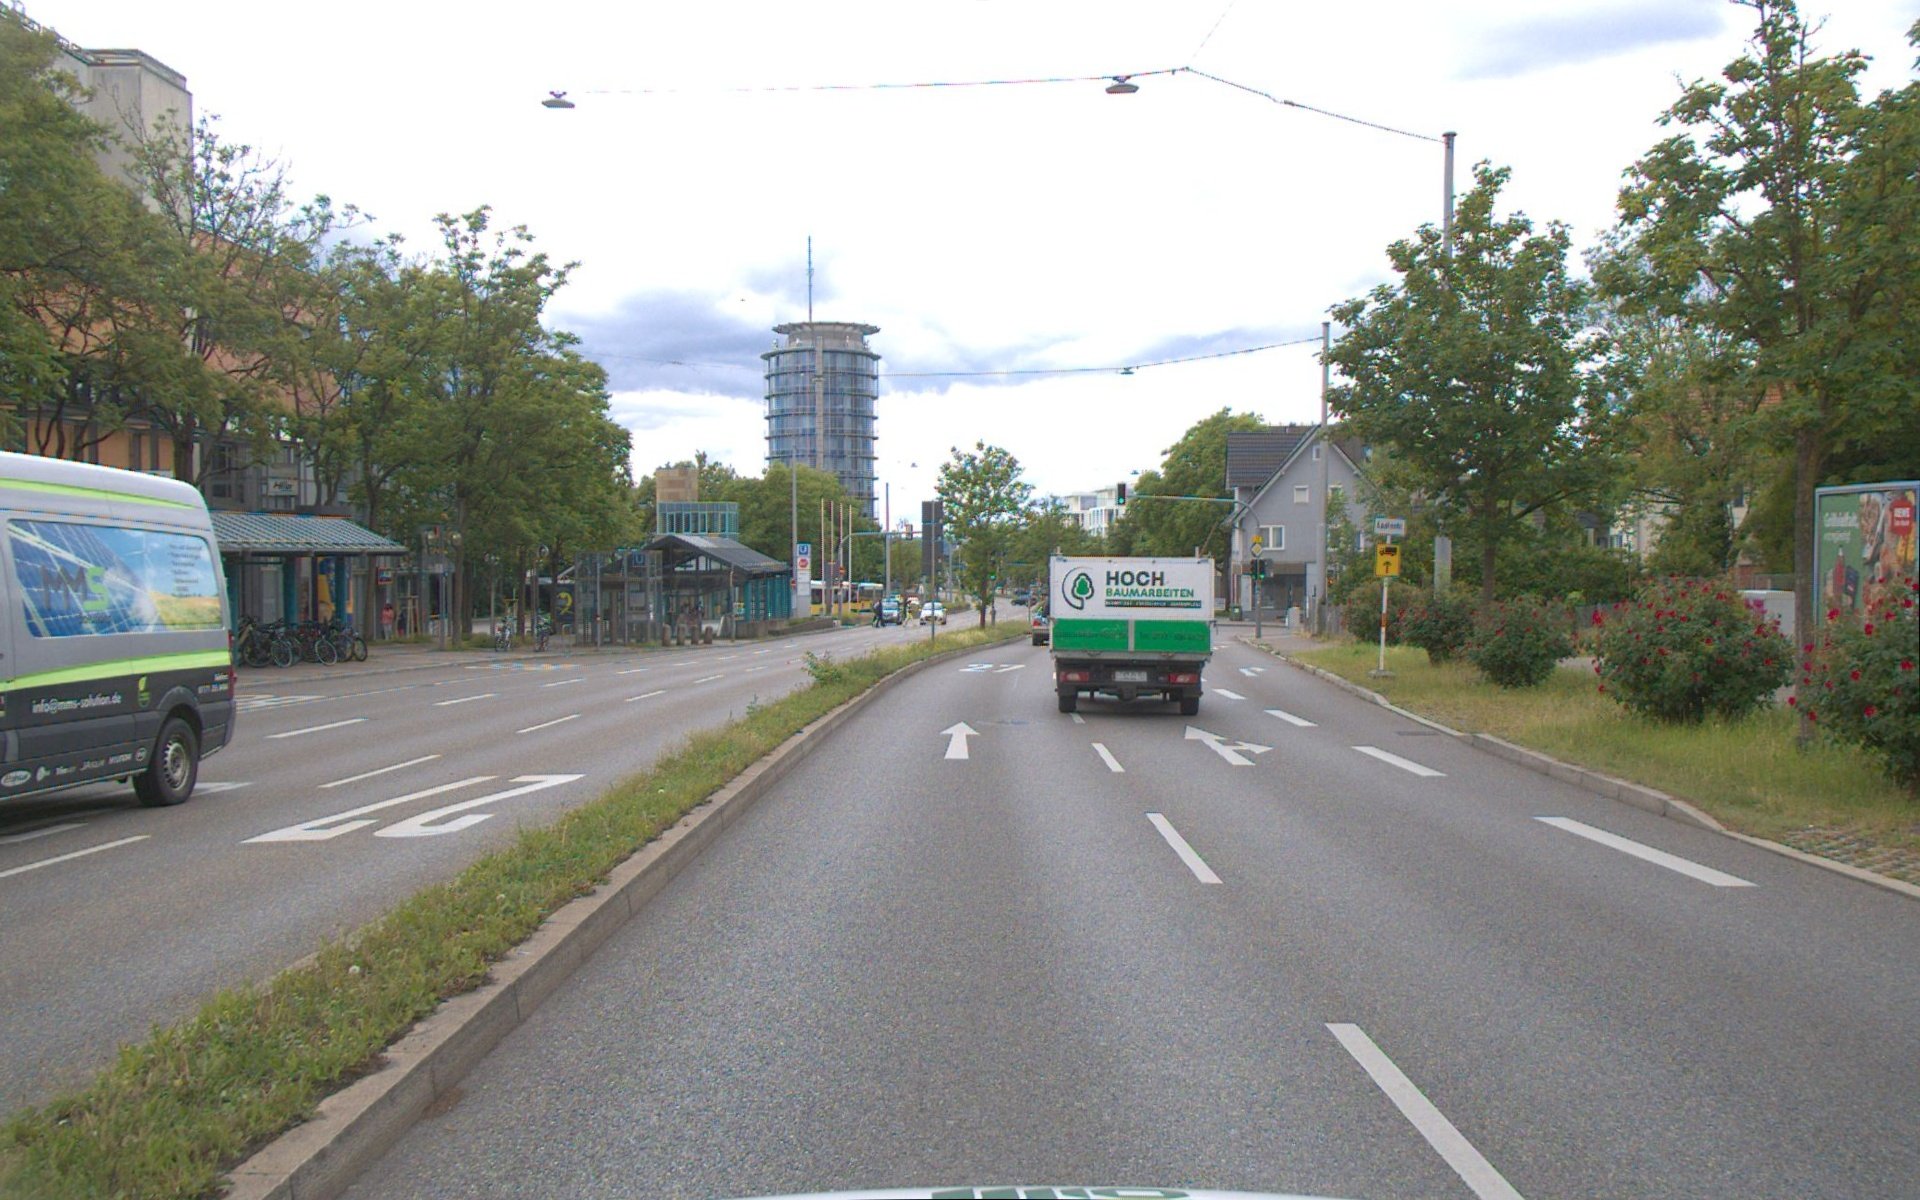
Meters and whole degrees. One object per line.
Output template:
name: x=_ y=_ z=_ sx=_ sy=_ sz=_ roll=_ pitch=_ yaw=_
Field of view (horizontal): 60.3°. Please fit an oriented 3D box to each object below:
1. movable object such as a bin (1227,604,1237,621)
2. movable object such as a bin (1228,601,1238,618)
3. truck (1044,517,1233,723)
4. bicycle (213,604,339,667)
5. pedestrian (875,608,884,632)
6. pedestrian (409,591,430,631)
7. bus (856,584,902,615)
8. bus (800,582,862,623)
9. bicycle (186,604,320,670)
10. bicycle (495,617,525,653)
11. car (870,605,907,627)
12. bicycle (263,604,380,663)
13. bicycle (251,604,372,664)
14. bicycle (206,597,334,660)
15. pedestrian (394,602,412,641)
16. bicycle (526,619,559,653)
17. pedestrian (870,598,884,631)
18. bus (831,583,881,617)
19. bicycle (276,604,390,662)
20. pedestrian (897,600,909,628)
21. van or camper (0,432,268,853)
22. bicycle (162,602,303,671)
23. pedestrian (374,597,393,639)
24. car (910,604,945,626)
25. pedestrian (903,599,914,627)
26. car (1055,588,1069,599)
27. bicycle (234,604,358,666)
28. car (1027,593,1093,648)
movable object such as a bin: x=17.283 y=0.818 z=105.021 sx=0.602 sy=1.061 sz=0.590 roll=1 pitch=0 yaw=9
movable object such as a bin: x=17.233 y=0.614 z=104.314 sx=0.591 sy=1.078 sz=0.590 roll=1 pitch=0 yaw=9
truck: x=2.589 y=0.202 z=24.821 sx=2.418 sy=2.657 sz=6.552 roll=1 pitch=1 yaw=5
bicycle: x=-17.379 y=0.897 z=42.046 sx=2.840 sy=1.533 sz=0.805 roll=-1 pitch=0 yaw=-2
pedestrian: x=-5.088 y=1.253 z=104.782 sx=0.531 sy=1.522 sz=0.487 roll=-1 pitch=-1 yaw=4
pedestrian: x=-22.387 y=0.458 z=68.507 sx=0.621 sy=1.614 sz=0.825 roll=-1 pitch=-1 yaw=-3
bus: x=-9.192 y=-0.050 z=189.627 sx=2.771 sy=3.491 sz=10.742 roll=-1 pitch=0 yaw=11
bus: x=-11.373 y=0.262 z=147.082 sx=2.771 sy=3.491 sz=10.742 roll=-1 pitch=0 yaw=11
bicycle: x=-17.111 y=0.895 z=40.082 sx=2.840 sy=1.533 sz=0.891 roll=-1 pitch=0 yaw=-2
bicycle: x=-15.067 y=1.155 z=55.430 sx=0.700 sy=1.156 sz=1.953 roll=-1 pitch=0 yaw=-8
car: x=-4.937 y=1.096 z=114.484 sx=1.951 sy=1.512 sz=4.002 roll=-1 pitch=0 yaw=6
bicycle: x=-17.105 y=0.888 z=44.340 sx=2.840 sy=1.533 sz=0.700 roll=-1 pitch=0 yaw=-2
bicycle: x=-17.057 y=0.886 z=43.529 sx=2.840 sy=1.533 sz=0.778 roll=-1 pitch=0 yaw=-2
bicycle: x=-17.128 y=0.699 z=41.095 sx=2.839 sy=1.533 sz=0.812 roll=-1 pitch=0 yaw=0
pedestrian: x=-23.682 y=0.915 z=70.333 sx=0.506 sy=1.616 sz=0.680 roll=-1 pitch=0 yaw=-2
bicycle: x=-13.978 y=1.200 z=55.461 sx=0.814 sy=1.102 sz=1.933 roll=-1 pitch=0 yaw=-7
pedestrian: x=-5.209 y=0.894 z=103.752 sx=0.813 sy=2.049 sz=0.546 roll=-1 pitch=-1 yaw=0
bus: x=-11.205 y=0.005 z=179.047 sx=2.771 sy=3.491 sz=10.742 roll=-1 pitch=0 yaw=11
bicycle: x=-17.063 y=0.883 z=45.028 sx=2.840 sy=1.533 sz=0.598 roll=-1 pitch=0 yaw=-2
pedestrian: x=-3.592 y=0.889 z=103.987 sx=0.730 sy=1.746 sz=0.583 roll=-1 pitch=-1 yaw=0
van or camper: x=-7.039 y=0.288 z=11.298 sx=1.991 sy=2.643 sz=6.115 roll=-2 pitch=0 yaw=0
bicycle: x=-17.144 y=0.852 z=39.033 sx=2.840 sy=1.533 sz=0.972 roll=1 pitch=0 yaw=-2
pedestrian: x=-24.526 y=0.759 z=70.364 sx=0.553 sy=1.757 sz=0.680 roll=-1 pitch=0 yaw=-2
car: x=-2.193 y=1.032 z=113.933 sx=1.951 sy=1.512 sz=4.002 roll=-1 pitch=0 yaw=6
pedestrian: x=-3.231 y=0.826 z=103.328 sx=0.640 sy=1.746 sz=0.452 roll=-1 pitch=-1 yaw=0
car: x=14.673 y=-0.964 z=238.751 sx=1.952 sy=1.545 sz=4.002 roll=-1 pitch=0 yaw=3
bicycle: x=-17.068 y=0.900 z=42.561 sx=2.840 sy=1.533 sz=0.805 roll=-1 pitch=0 yaw=-2
car: x=3.604 y=0.709 z=58.966 sx=1.951 sy=1.862 sz=4.003 roll=0 pitch=0 yaw=9
